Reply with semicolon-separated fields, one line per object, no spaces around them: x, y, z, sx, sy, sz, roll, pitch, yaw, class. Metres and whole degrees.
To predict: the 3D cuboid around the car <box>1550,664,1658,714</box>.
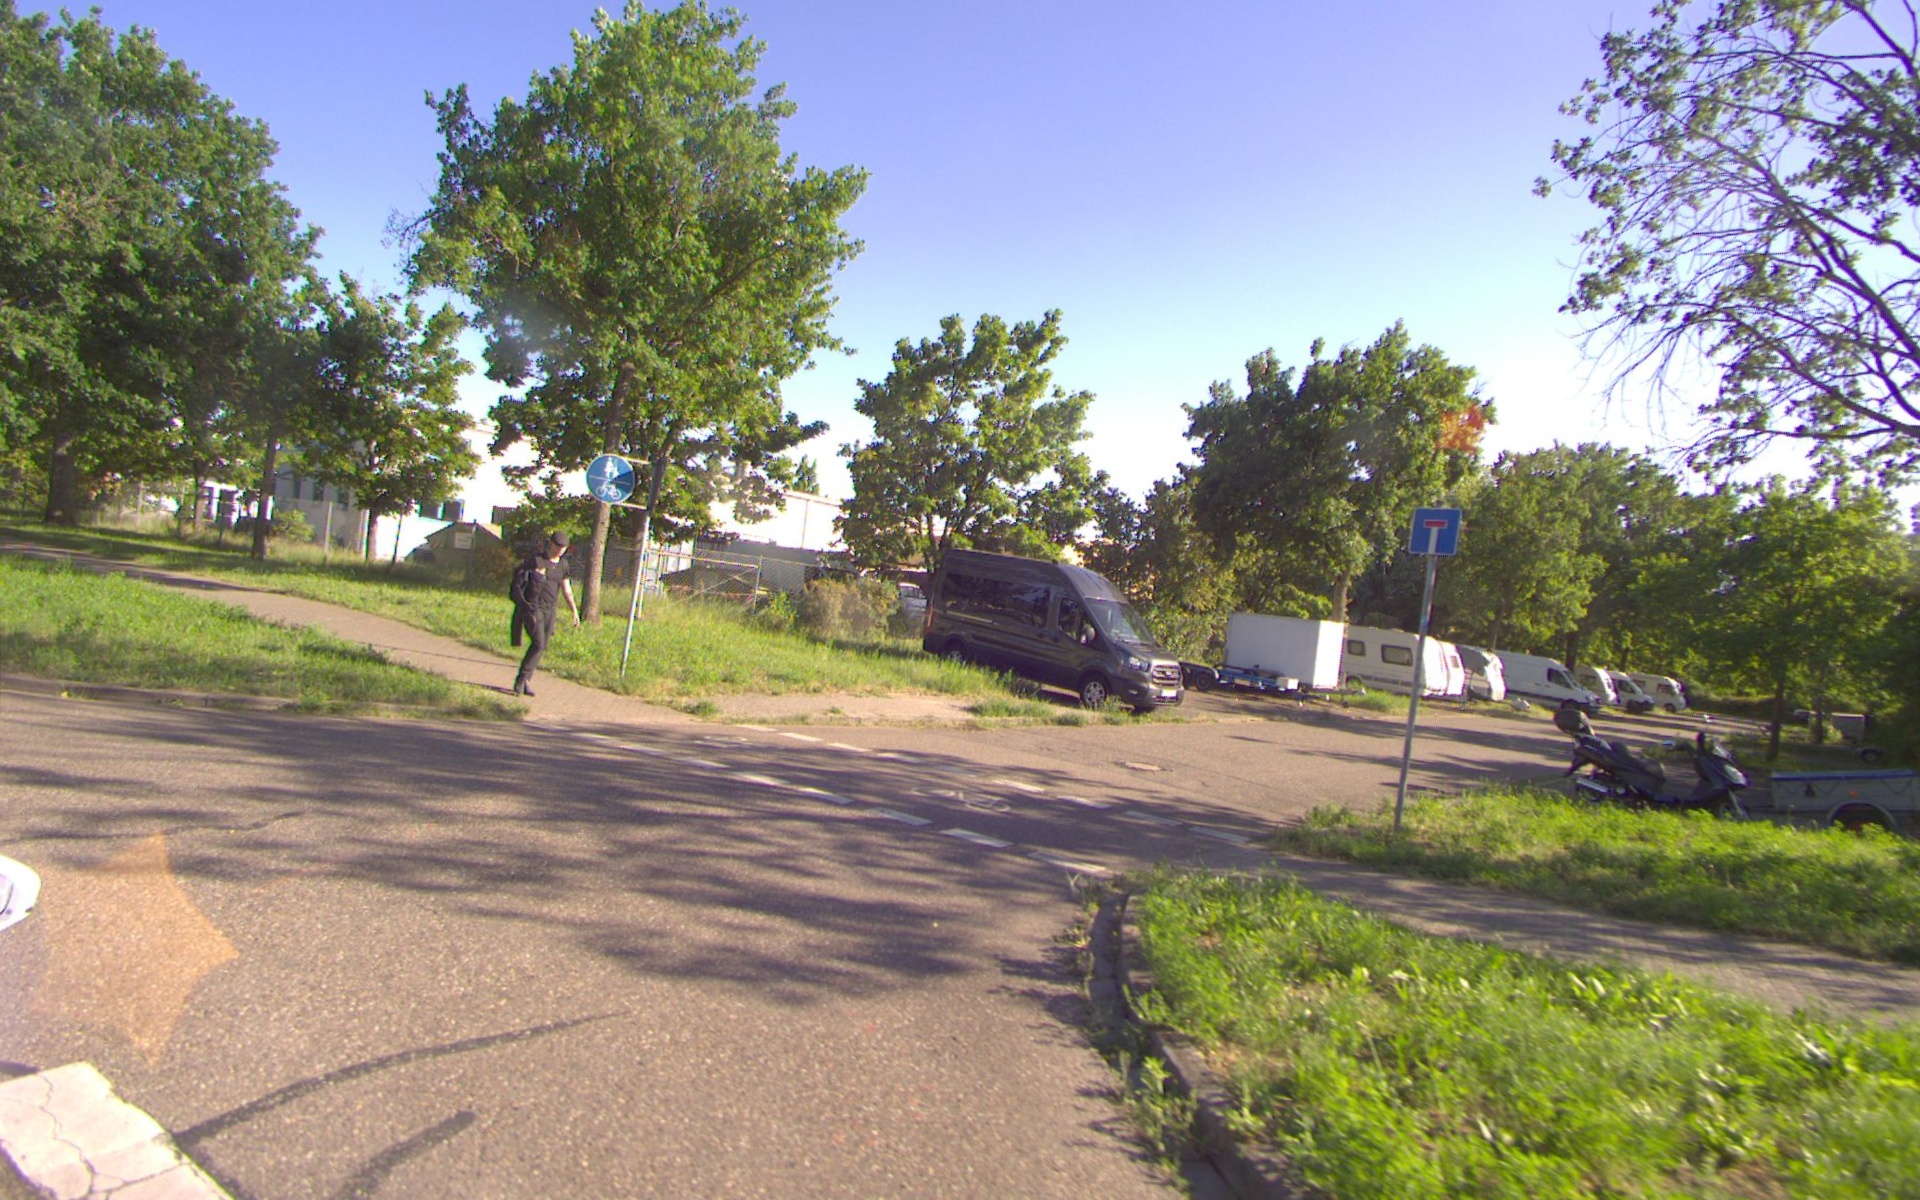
41.907;5.783;65.571;5.496;2.442;2.195;6;-2;41;car

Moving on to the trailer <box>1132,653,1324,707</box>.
7.511;2.246;28.501;4.756;0.659;2.223;9;1;43;trailer

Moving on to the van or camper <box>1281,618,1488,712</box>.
15.899;2.393;38.056;6.687;2.607;2.176;7;1;44;van or camper

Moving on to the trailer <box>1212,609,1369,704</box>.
9.990;1.690;30.541;3.739;2.336;2.184;7;1;43;trailer

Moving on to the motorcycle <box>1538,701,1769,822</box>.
8.981;2.049;13.116;2.376;1.245;0.661;2;-3;43;motorcycle

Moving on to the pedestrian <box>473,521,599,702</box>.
-4.702;0.132;11.164;0.853;1.835;0.726;10;3;30;pedestrian

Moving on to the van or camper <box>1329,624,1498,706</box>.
18.858;2.658;42.048;5.840;2.607;2.176;7;1;44;van or camper

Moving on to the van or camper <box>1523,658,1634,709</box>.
39.254;5.272;63.953;5.517;2.452;2.176;7;1;44;van or camper

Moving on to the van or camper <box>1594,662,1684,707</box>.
54.776;6.838;81.212;5.515;2.800;2.397;7;1;42;van or camper

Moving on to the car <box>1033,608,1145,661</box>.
5.241;1.415;41.086;3.941;1.612;1.992;7;1;39;car

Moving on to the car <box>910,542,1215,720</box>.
1.916;0.527;20.744;5.888;2.597;2.081;11;2;43;car

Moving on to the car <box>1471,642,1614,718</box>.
28.934;3.956;50.058;5.601;2.944;2.332;6;-2;41;car

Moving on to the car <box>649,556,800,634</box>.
-6.538;-0.138;27.895;3.537;1.685;2.008;7;1;31;car

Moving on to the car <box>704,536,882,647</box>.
-5.011;-0.259;30.018;4.770;2.676;2.162;7;1;31;car

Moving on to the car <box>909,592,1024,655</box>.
0.164;0.789;34.910;1.826;1.660;3.958;6;1;-38;car

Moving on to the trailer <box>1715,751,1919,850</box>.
10.992;2.498;12.813;2.028;0.878;1.575;2;-4;43;trailer

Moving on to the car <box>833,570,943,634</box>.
-3.406;0.081;46.729;4.943;2.087;2.082;11;1;43;car

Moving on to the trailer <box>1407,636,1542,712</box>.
22.043;3.147;43.217;4.576;2.607;2.178;7;1;39;trailer

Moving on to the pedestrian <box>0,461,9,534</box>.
-24.134;-2.578;24.804;0.853;1.779;0.726;7;3;31;pedestrian
